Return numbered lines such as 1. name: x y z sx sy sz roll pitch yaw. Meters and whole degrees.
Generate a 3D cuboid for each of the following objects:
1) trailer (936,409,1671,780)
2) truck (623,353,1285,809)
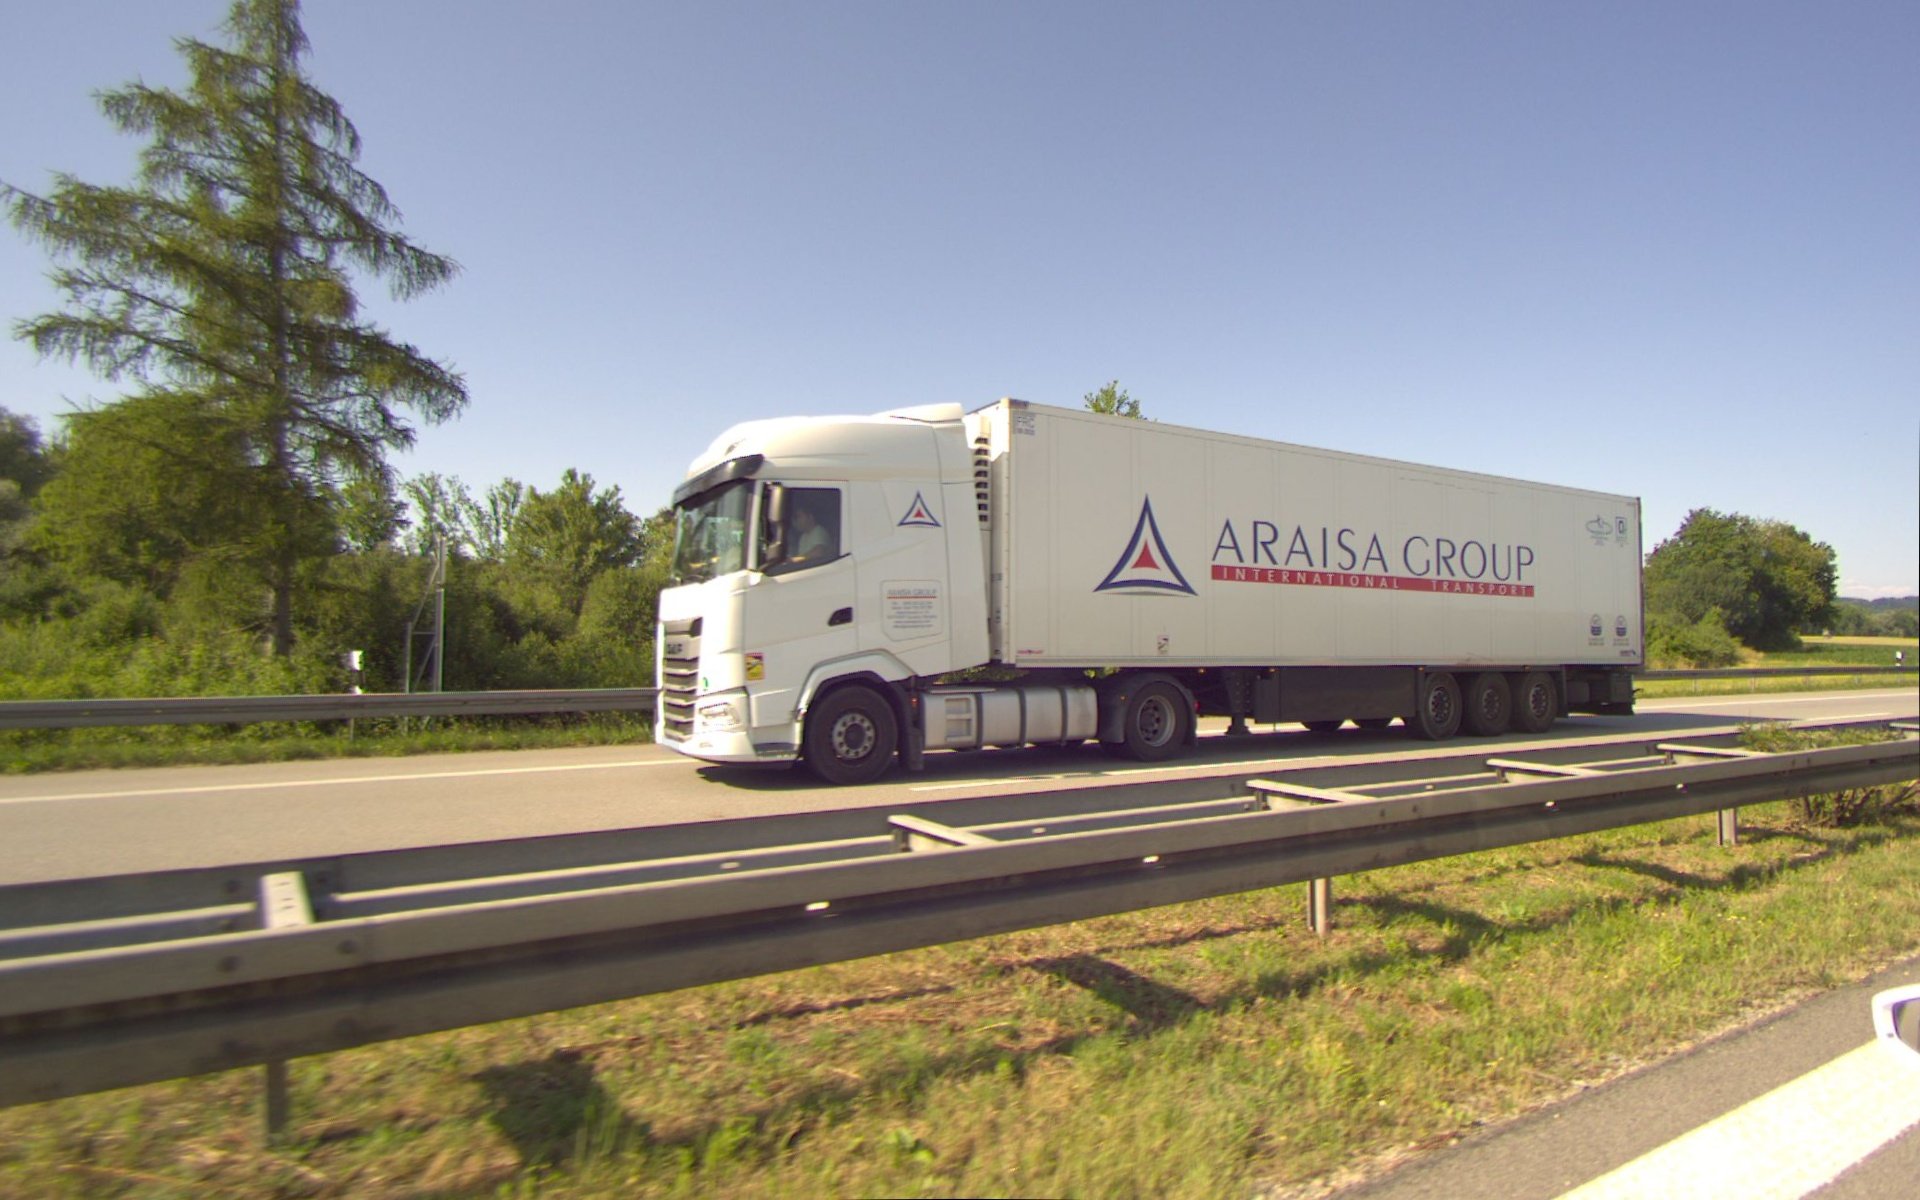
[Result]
1. trailer: 6.171 0.142 16.008 13.284 4.178 3.137 1 -4 -30
2. truck: 0.095 -0.033 12.442 7.644 4.154 3.142 1 -4 -30
